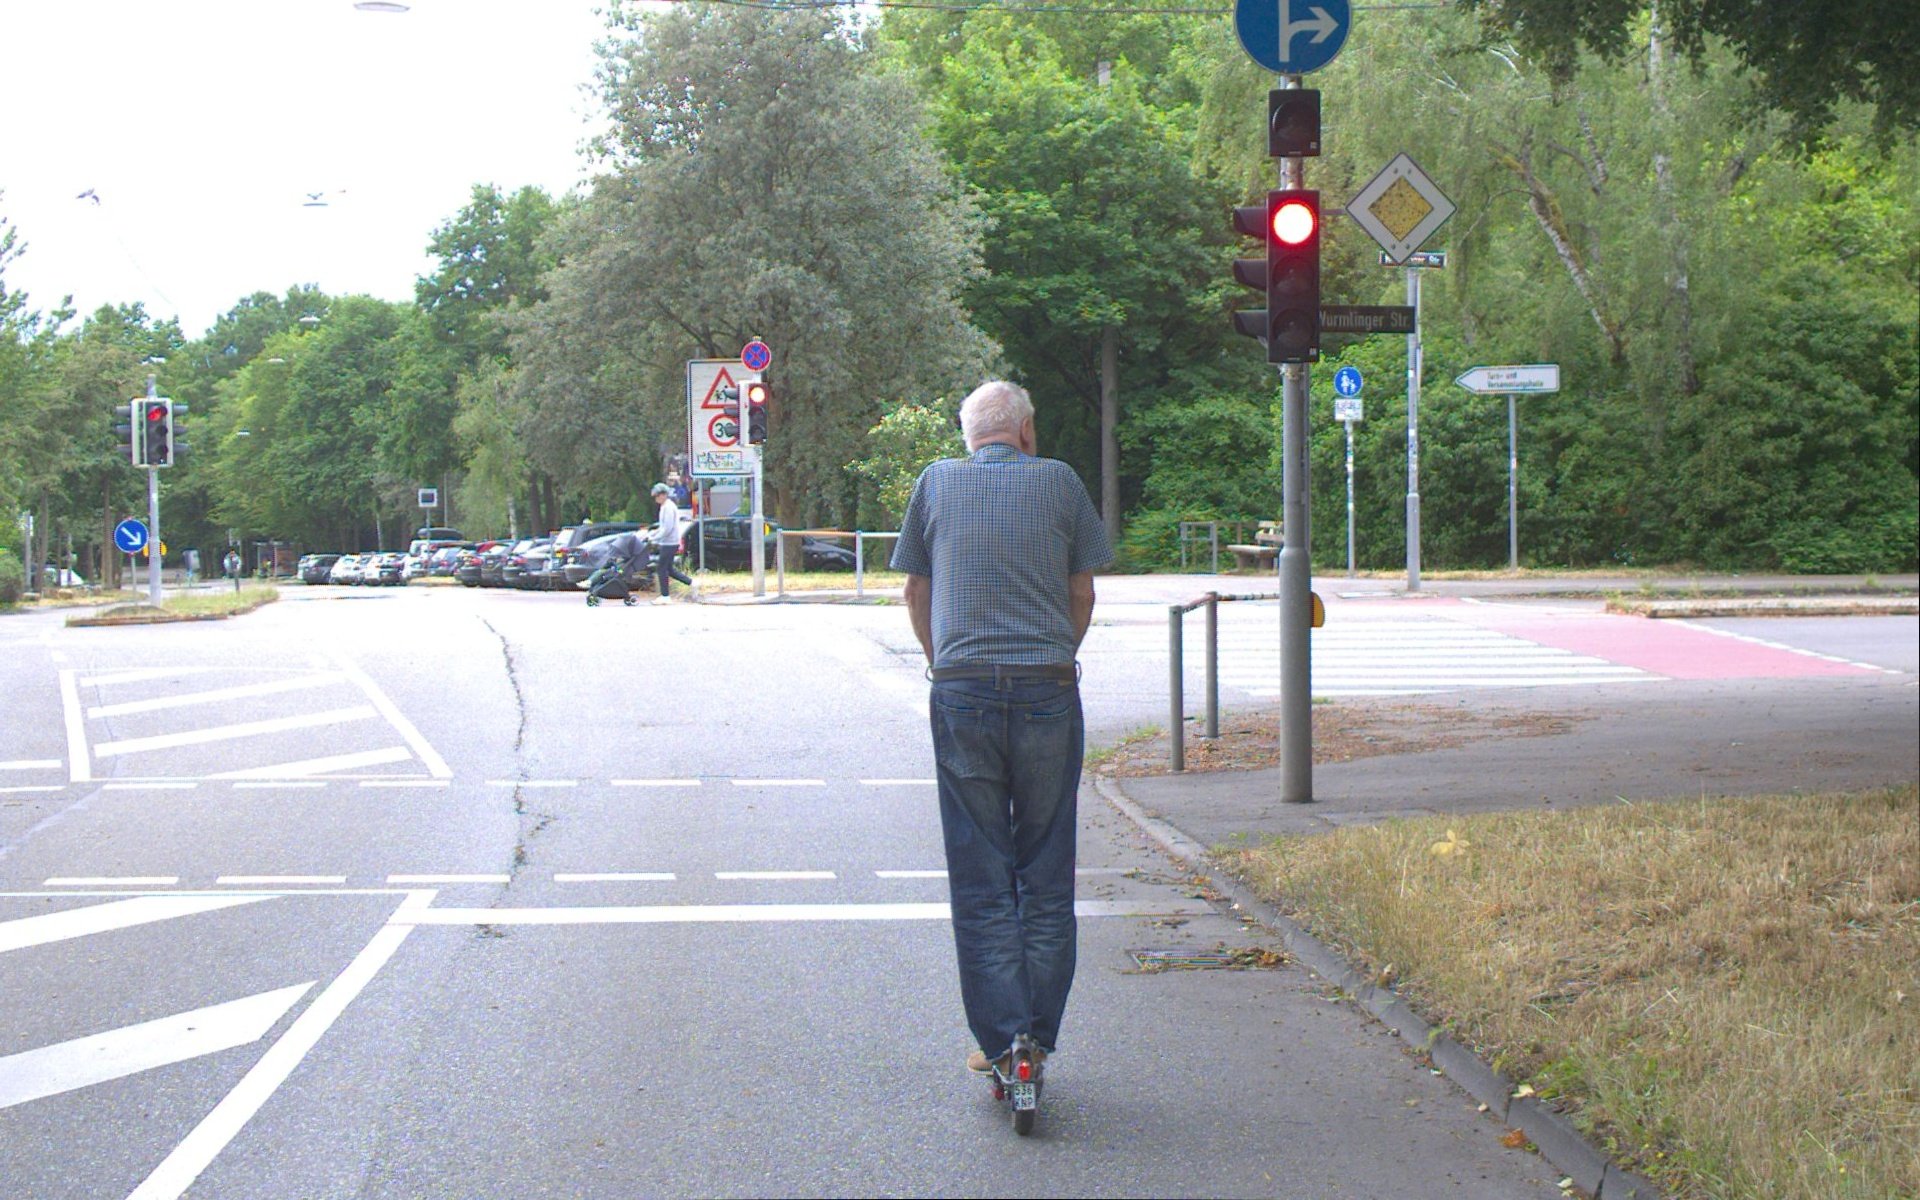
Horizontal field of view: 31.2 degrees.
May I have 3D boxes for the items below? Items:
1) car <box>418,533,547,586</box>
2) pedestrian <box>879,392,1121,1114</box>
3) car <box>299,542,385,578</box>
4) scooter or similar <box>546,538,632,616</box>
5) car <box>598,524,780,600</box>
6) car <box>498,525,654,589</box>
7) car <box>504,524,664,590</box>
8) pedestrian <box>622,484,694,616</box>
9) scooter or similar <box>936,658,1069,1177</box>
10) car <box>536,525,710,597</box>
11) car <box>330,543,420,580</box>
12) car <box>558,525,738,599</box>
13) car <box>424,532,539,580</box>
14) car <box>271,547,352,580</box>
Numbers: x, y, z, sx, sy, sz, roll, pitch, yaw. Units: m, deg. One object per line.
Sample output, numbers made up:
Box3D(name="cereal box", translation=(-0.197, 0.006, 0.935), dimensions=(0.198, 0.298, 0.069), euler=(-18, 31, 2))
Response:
Box3D(name="car", translation=(-15.812, -1.338, 113.893), dimensions=(3.841, 1.605, 1.728), euler=(-3, 2, -24))
Box3D(name="pedestrian", translation=(0.103, 0.382, 8.865), dimensions=(0.572, 1.807, 0.420), euler=(-1, 1, 1))
Box3D(name="car", translation=(-30.661, -2.002, 170.594), dimensions=(3.841, 1.605, 1.728), euler=(-3, 2, -24))
Box3D(name="scooter or similar", translation=(-5.285, -0.333, 48.948), dimensions=(1.107, 1.077, 0.578), euler=(-2, 1, -18))
Box3D(name="car", translation=(-6.301, -0.893, 79.894), dimensions=(3.840, 1.605, 1.729), euler=(-3, 2, -22))
Box3D(name="car", translation=(-10.504, -1.189, 94.105), dimensions=(3.841, 1.605, 1.728), euler=(-3, 2, -24))
Box3D(name="car", translation=(-10.028, -1.150, 91.699), dimensions=(3.841, 1.605, 1.728), euler=(-3, 2, -24))
Box3D(name="pedestrian", translation=(-4.329, -0.725, 49.241), dimensions=(0.883, 1.856, 0.574), euler=(-2, 1, -17))
Box3D(name="scooter or similar", translation=(0.119, 0.761, 8.713), dimensions=(0.282, 1.174, 1.177), euler=(-1, 1, 2))
Box3D(name="car", translation=(-8.270, -0.959, 84.377), dimensions=(3.841, 1.605, 1.728), euler=(-3, 2, -24))
Box3D(name="car", translation=(-27.805, -1.853, 163.337), dimensions=(3.841, 1.605, 1.728), euler=(-3, 2, -24))
Box3D(name="car", translation=(-7.431, -0.916, 81.848), dimensions=(3.841, 1.605, 1.728), euler=(-3, 2, -25))
Box3D(name="car", translation=(-17.652, -1.616, 126.834), dimensions=(3.841, 1.605, 1.728), euler=(-3, 2, -24))
Box3D(name="car", translation=(-34.008, -1.918, 180.196), dimensions=(3.841, 1.605, 1.728), euler=(-3, 2, -24))
